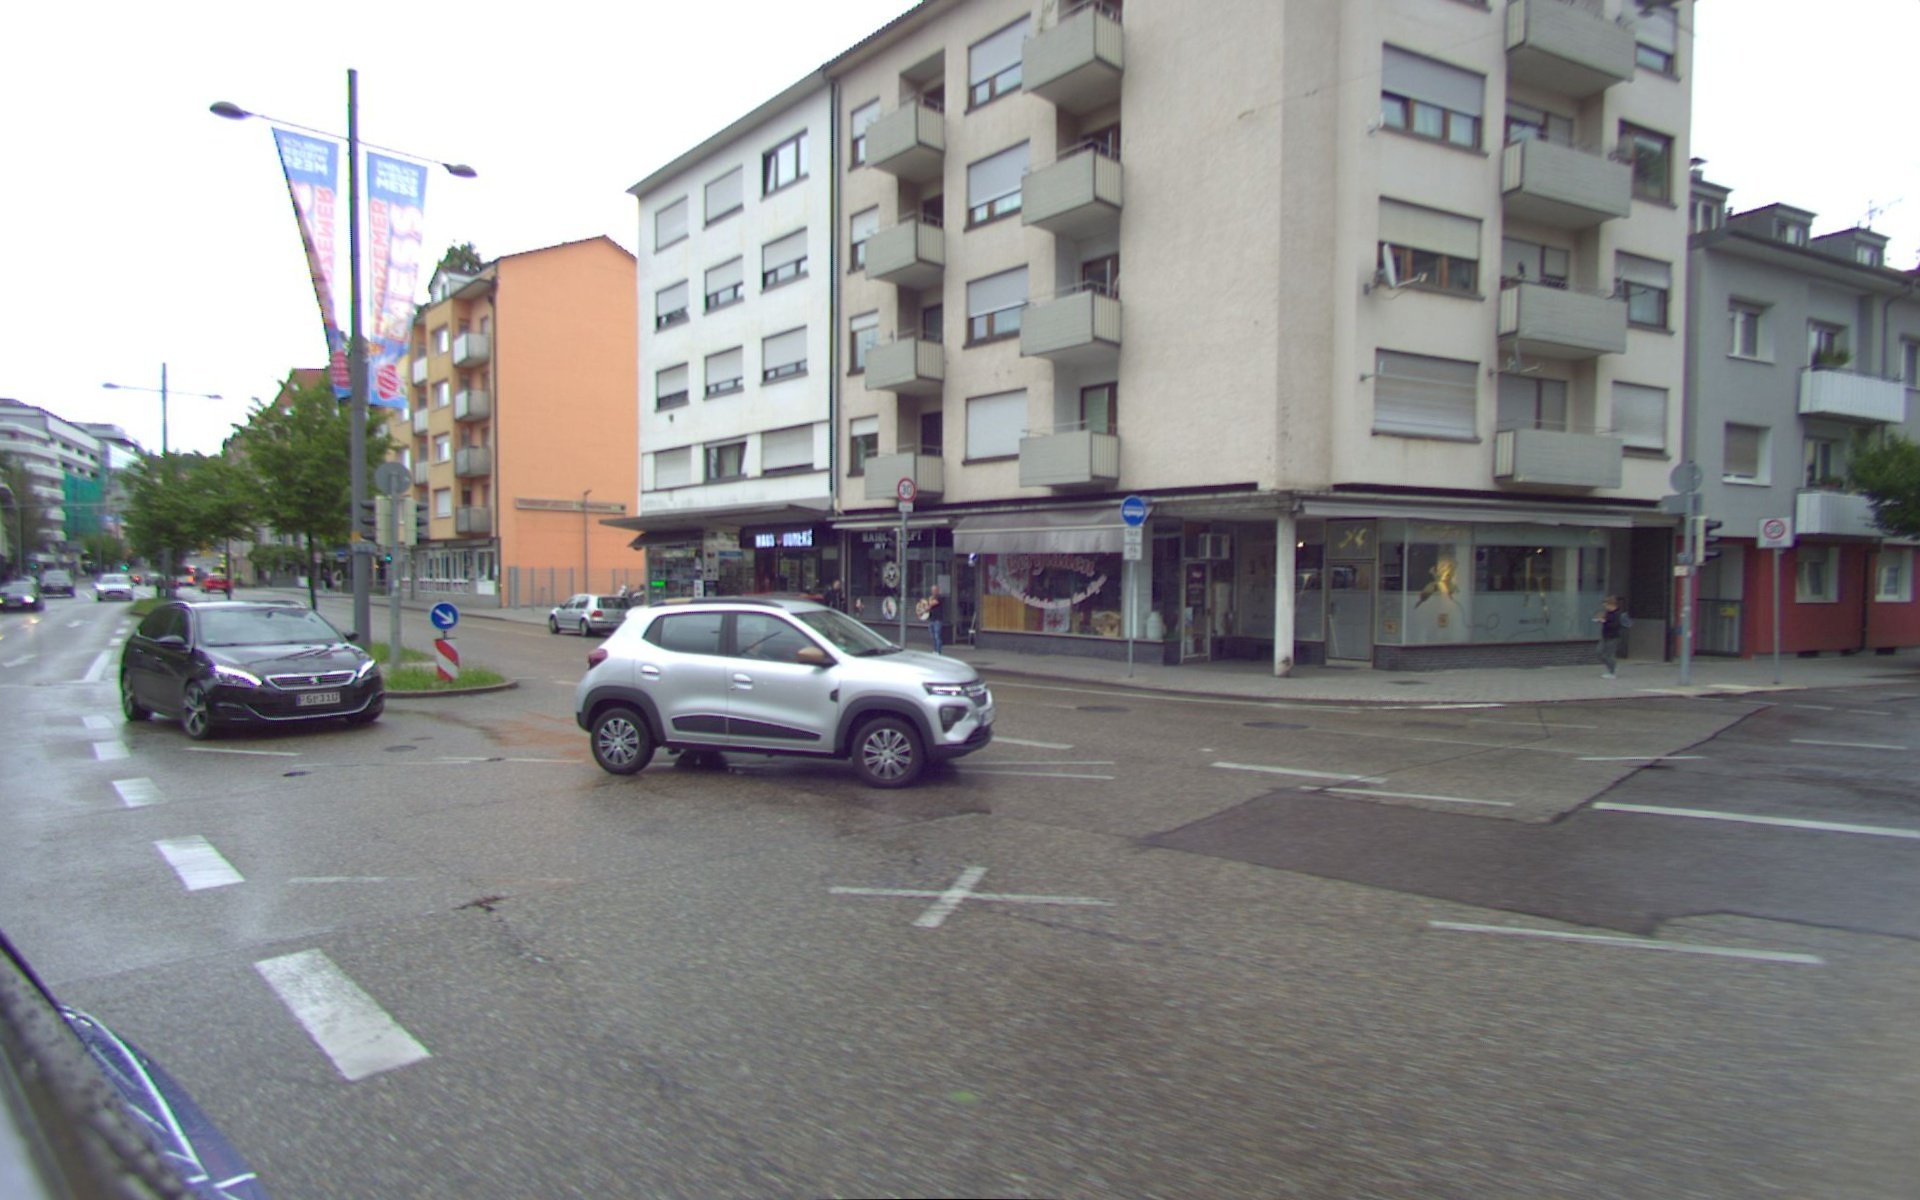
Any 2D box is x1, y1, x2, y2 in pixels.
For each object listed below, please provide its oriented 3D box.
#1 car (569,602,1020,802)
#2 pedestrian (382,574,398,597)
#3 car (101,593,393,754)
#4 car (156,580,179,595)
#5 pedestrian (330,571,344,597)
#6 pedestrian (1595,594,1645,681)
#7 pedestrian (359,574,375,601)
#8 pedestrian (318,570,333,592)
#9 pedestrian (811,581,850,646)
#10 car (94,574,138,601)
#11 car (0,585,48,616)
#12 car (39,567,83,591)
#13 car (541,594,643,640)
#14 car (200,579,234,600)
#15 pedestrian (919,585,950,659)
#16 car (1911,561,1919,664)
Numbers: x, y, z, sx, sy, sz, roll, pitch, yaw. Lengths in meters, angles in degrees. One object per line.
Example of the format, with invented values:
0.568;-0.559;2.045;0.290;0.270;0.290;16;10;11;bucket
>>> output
-1.389;0.770;8.844;3.596;1.472;1.534;0;1;15;car
-41.733;-1.066;74.070;0.677;1.703;0.743;1;1;16;pedestrian
-8.572;0.707;12.025;4.394;1.444;1.781;2;3;41;car
-80.673;-1.251;103.002;1.548;1.404;3.839;1;1;-43;car
-45.605;-1.205;74.056;0.736;1.901;0.801;-1;2;-45;pedestrian
13.130;0.740;20.145;0.597;1.662;0.526;2;4;12;pedestrian
-38.437;-0.802;65.630;0.606;1.741;0.555;-1;4;29;pedestrian
-48.268;-1.452;76.986;0.756;1.708;0.801;-1;2;-45;pedestrian
-3.622;0.373;28.368;0.768;1.742;0.661;-5;4;-40;pedestrian
-52.358;-0.757;62.856;1.867;1.588;4.370;1;0;-37;car
-45.095;0.008;48.515;1.870;1.432;4.364;1;0;-45;car
-59.863;-1.365;67.443;1.867;1.499;4.370;1;0;-37;car
-12.413;0.552;34.006;1.656;1.402;4.155;2;-1;-44;car
-57.021;-0.802;77.663;1.584;1.441;3.949;2;0;-44;car
-0.614;0.519;24.537;0.446;1.743;0.525;-5;4;-39;pedestrian
26.423;0.318;24.886;5.166;2.528;2.415;0;0;-21;car
